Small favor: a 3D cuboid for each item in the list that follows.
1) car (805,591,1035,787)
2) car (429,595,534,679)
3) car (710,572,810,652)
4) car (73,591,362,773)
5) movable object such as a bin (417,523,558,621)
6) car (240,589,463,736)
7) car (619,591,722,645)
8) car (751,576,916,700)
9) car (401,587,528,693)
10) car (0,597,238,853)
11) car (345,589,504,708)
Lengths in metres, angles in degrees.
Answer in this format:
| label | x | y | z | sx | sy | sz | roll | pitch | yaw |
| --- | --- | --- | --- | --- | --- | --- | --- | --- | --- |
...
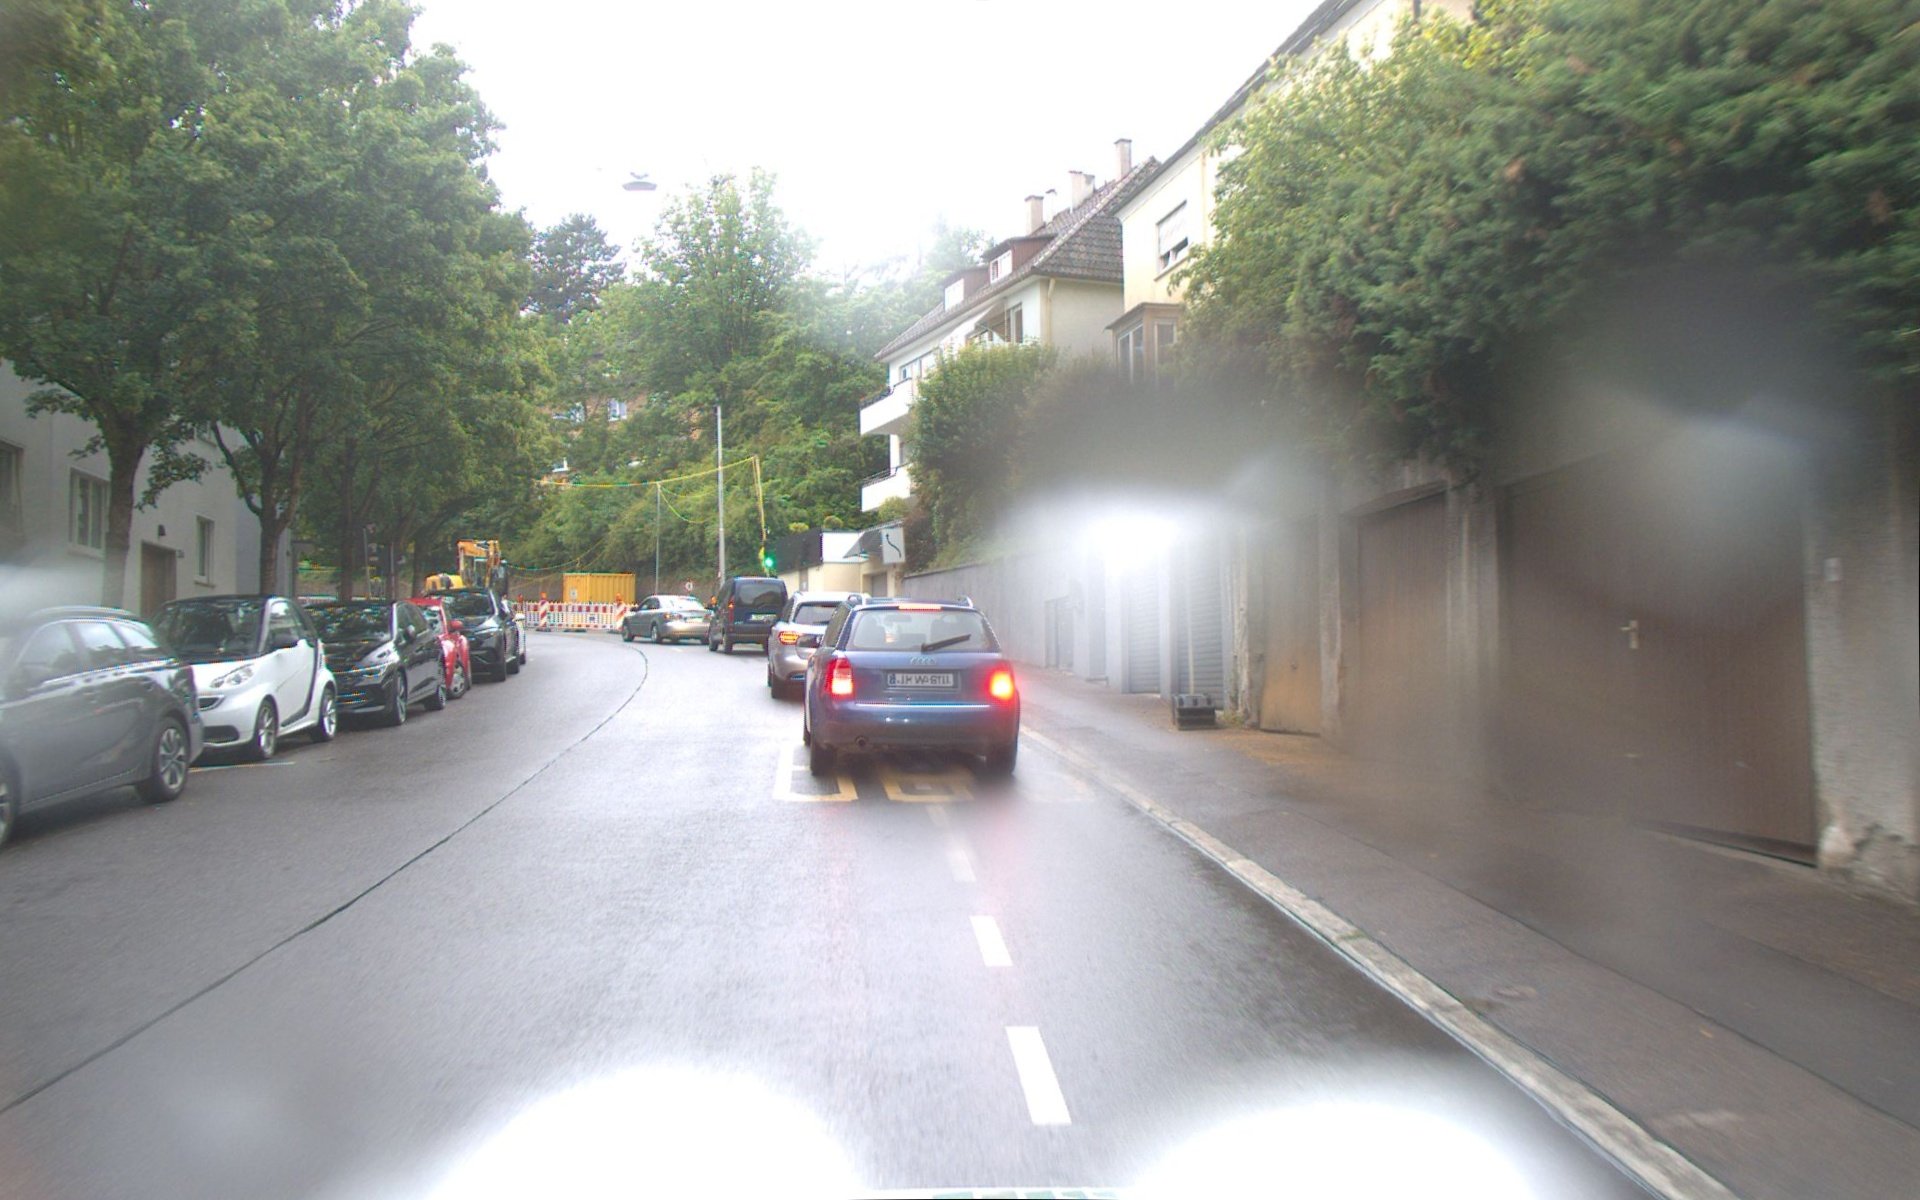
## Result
| label | x | y | z | sx | sy | sz | roll | pitch | yaw |
| --- | --- | --- | --- | --- | --- | --- | --- | --- | --- |
| car | -0.469 | 0.670 | 14.626 | 1.751 | 1.467 | 3.959 | -1 | 0 | -5 |
| car | -10.140 | 0.740 | 35.306 | 1.652 | 1.534 | 4.305 | -4 | 1 | -11 |
| car | -5.009 | 0.262 | 40.988 | 1.960 | 1.825 | 3.985 | -2 | 1 | -14 |
| car | -7.309 | 0.748 | 16.625 | 1.525 | 1.537 | 3.380 | -4 | 0 | -5 |
| movable object such as a bin | -20.751 | -1.197 | 72.389 | 7.204 | 4.084 | 2.809 | 1 | 1 | 45 |
| car | -7.357 | 0.707 | 20.392 | 1.526 | 1.514 | 4.092 | -4 | 0 | -6 |
| car | -8.727 | 0.532 | 49.615 | 1.704 | 1.512 | 4.033 | -2 | 1 | -31 |
| car | -1.954 | 0.474 | 24.269 | 1.892 | 1.646 | 4.308 | 0 | 1 | -12 |
| car | -9.030 | 0.651 | 30.438 | 1.652 | 1.636 | 4.564 | -5 | 2 | -11 |
| car | -6.592 | 0.806 | 11.106 | 1.631 | 1.514 | 4.472 | -4 | 0 | -3 |
| car | -8.053 | 0.699 | 25.185 | 1.602 | 1.592 | 3.841 | -3 | 0 | -8 |
